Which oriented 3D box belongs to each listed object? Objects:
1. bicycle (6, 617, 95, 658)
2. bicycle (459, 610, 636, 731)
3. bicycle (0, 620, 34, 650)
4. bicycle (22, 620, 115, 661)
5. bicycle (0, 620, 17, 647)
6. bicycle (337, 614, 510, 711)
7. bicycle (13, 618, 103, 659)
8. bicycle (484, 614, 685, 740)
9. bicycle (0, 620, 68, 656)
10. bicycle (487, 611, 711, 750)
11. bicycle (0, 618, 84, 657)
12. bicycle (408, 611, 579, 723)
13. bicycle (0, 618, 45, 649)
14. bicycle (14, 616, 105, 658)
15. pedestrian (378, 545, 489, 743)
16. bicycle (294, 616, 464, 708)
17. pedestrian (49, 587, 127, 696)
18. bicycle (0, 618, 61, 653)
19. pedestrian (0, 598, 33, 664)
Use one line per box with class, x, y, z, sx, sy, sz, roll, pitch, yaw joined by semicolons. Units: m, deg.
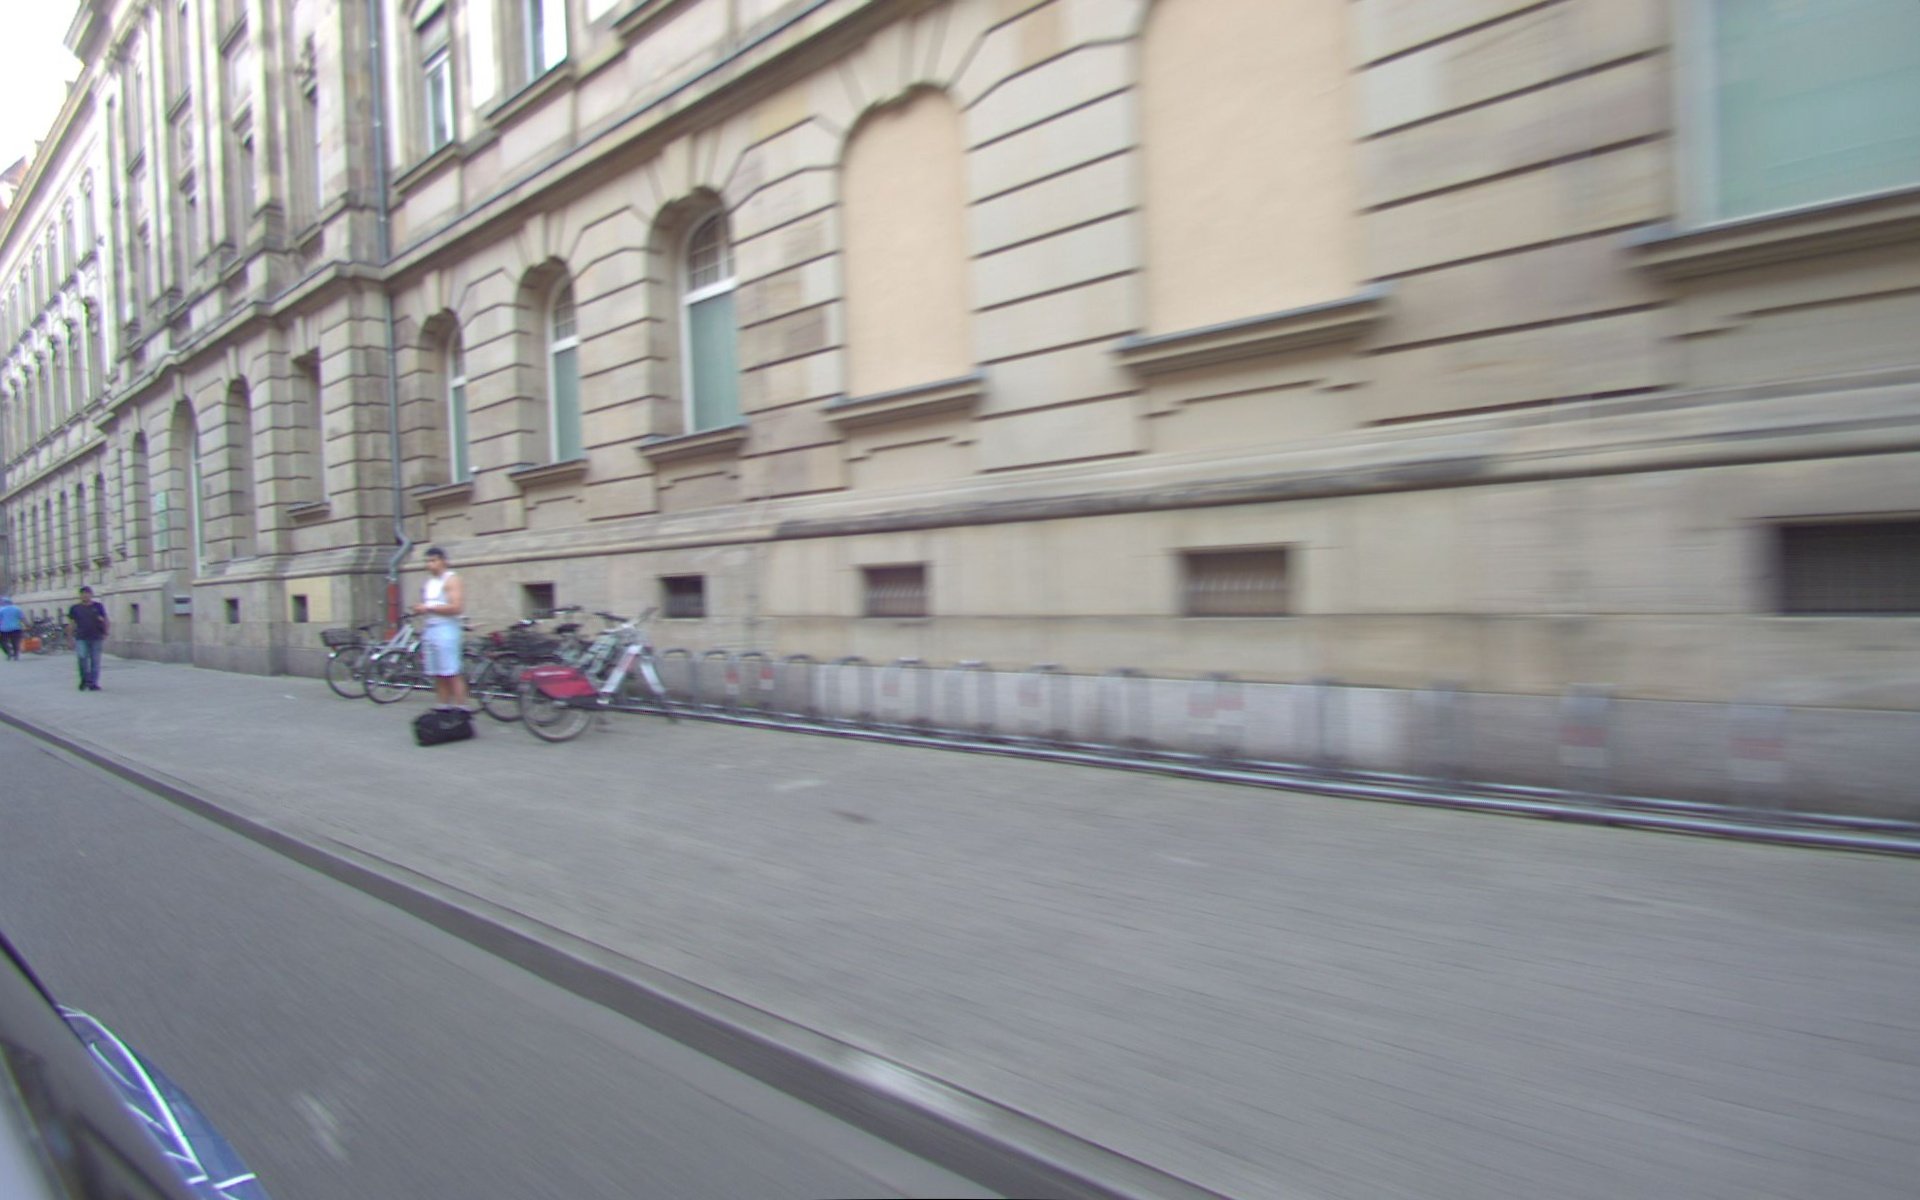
bicycle;-28.682;1.167;31.960;0.728;1.086;1.922;-1;3;33
bicycle;-4.468;0.726;11.102;0.499;1.116;1.779;-1;3;34
bicycle;-38.547;1.441;40.520;0.725;1.086;2.011;-2;3;21
bicycle;-26.433;1.195;30.042;0.720;1.053;1.918;-2;2;36
bicycle;-40.844;1.456;42.252;0.728;1.117;2.002;-1;3;34
bicycle;-7.029;0.785;13.364;0.618;1.069;1.921;-1;2;34
bicycle;-28.053;1.171;31.509;0.728;1.086;1.922;-1;3;33
bicycle;-3.856;0.744;10.565;0.618;1.069;1.921;-1;3;34
bicycle;-32.421;1.300;35.182;0.728;1.086;1.922;-1;3;33
bicycle;-3.346;0.694;9.555;0.619;1.069;1.919;0;3;38
bicycle;-29.731;1.187;32.755;0.728;1.086;1.922;-1;3;33
bicycle;-5.409;0.738;11.846;0.499;1.116;1.779;-1;3;34
bicycle;-35.979;1.286;38.247;0.728;1.086;1.921;-1;3;34
bicycle;-27.182;1.097;30.582;0.747;1.086;1.918;-1;3;39
pedestrian;-5.187;0.411;9.980;0.753;1.865;0.583;-2;2;35
bicycle;-8.048;0.817;14.090;0.619;1.069;1.918;-1;3;39
pedestrian;-14.903;0.692;17.300;0.969;1.763;0.801;-1;2;41
bicycle;-33.333;1.249;35.944;0.728;1.086;1.922;-1;3;33
pedestrian;-26.316;0.857;27.995;0.768;1.758;0.820;-2;3;41
